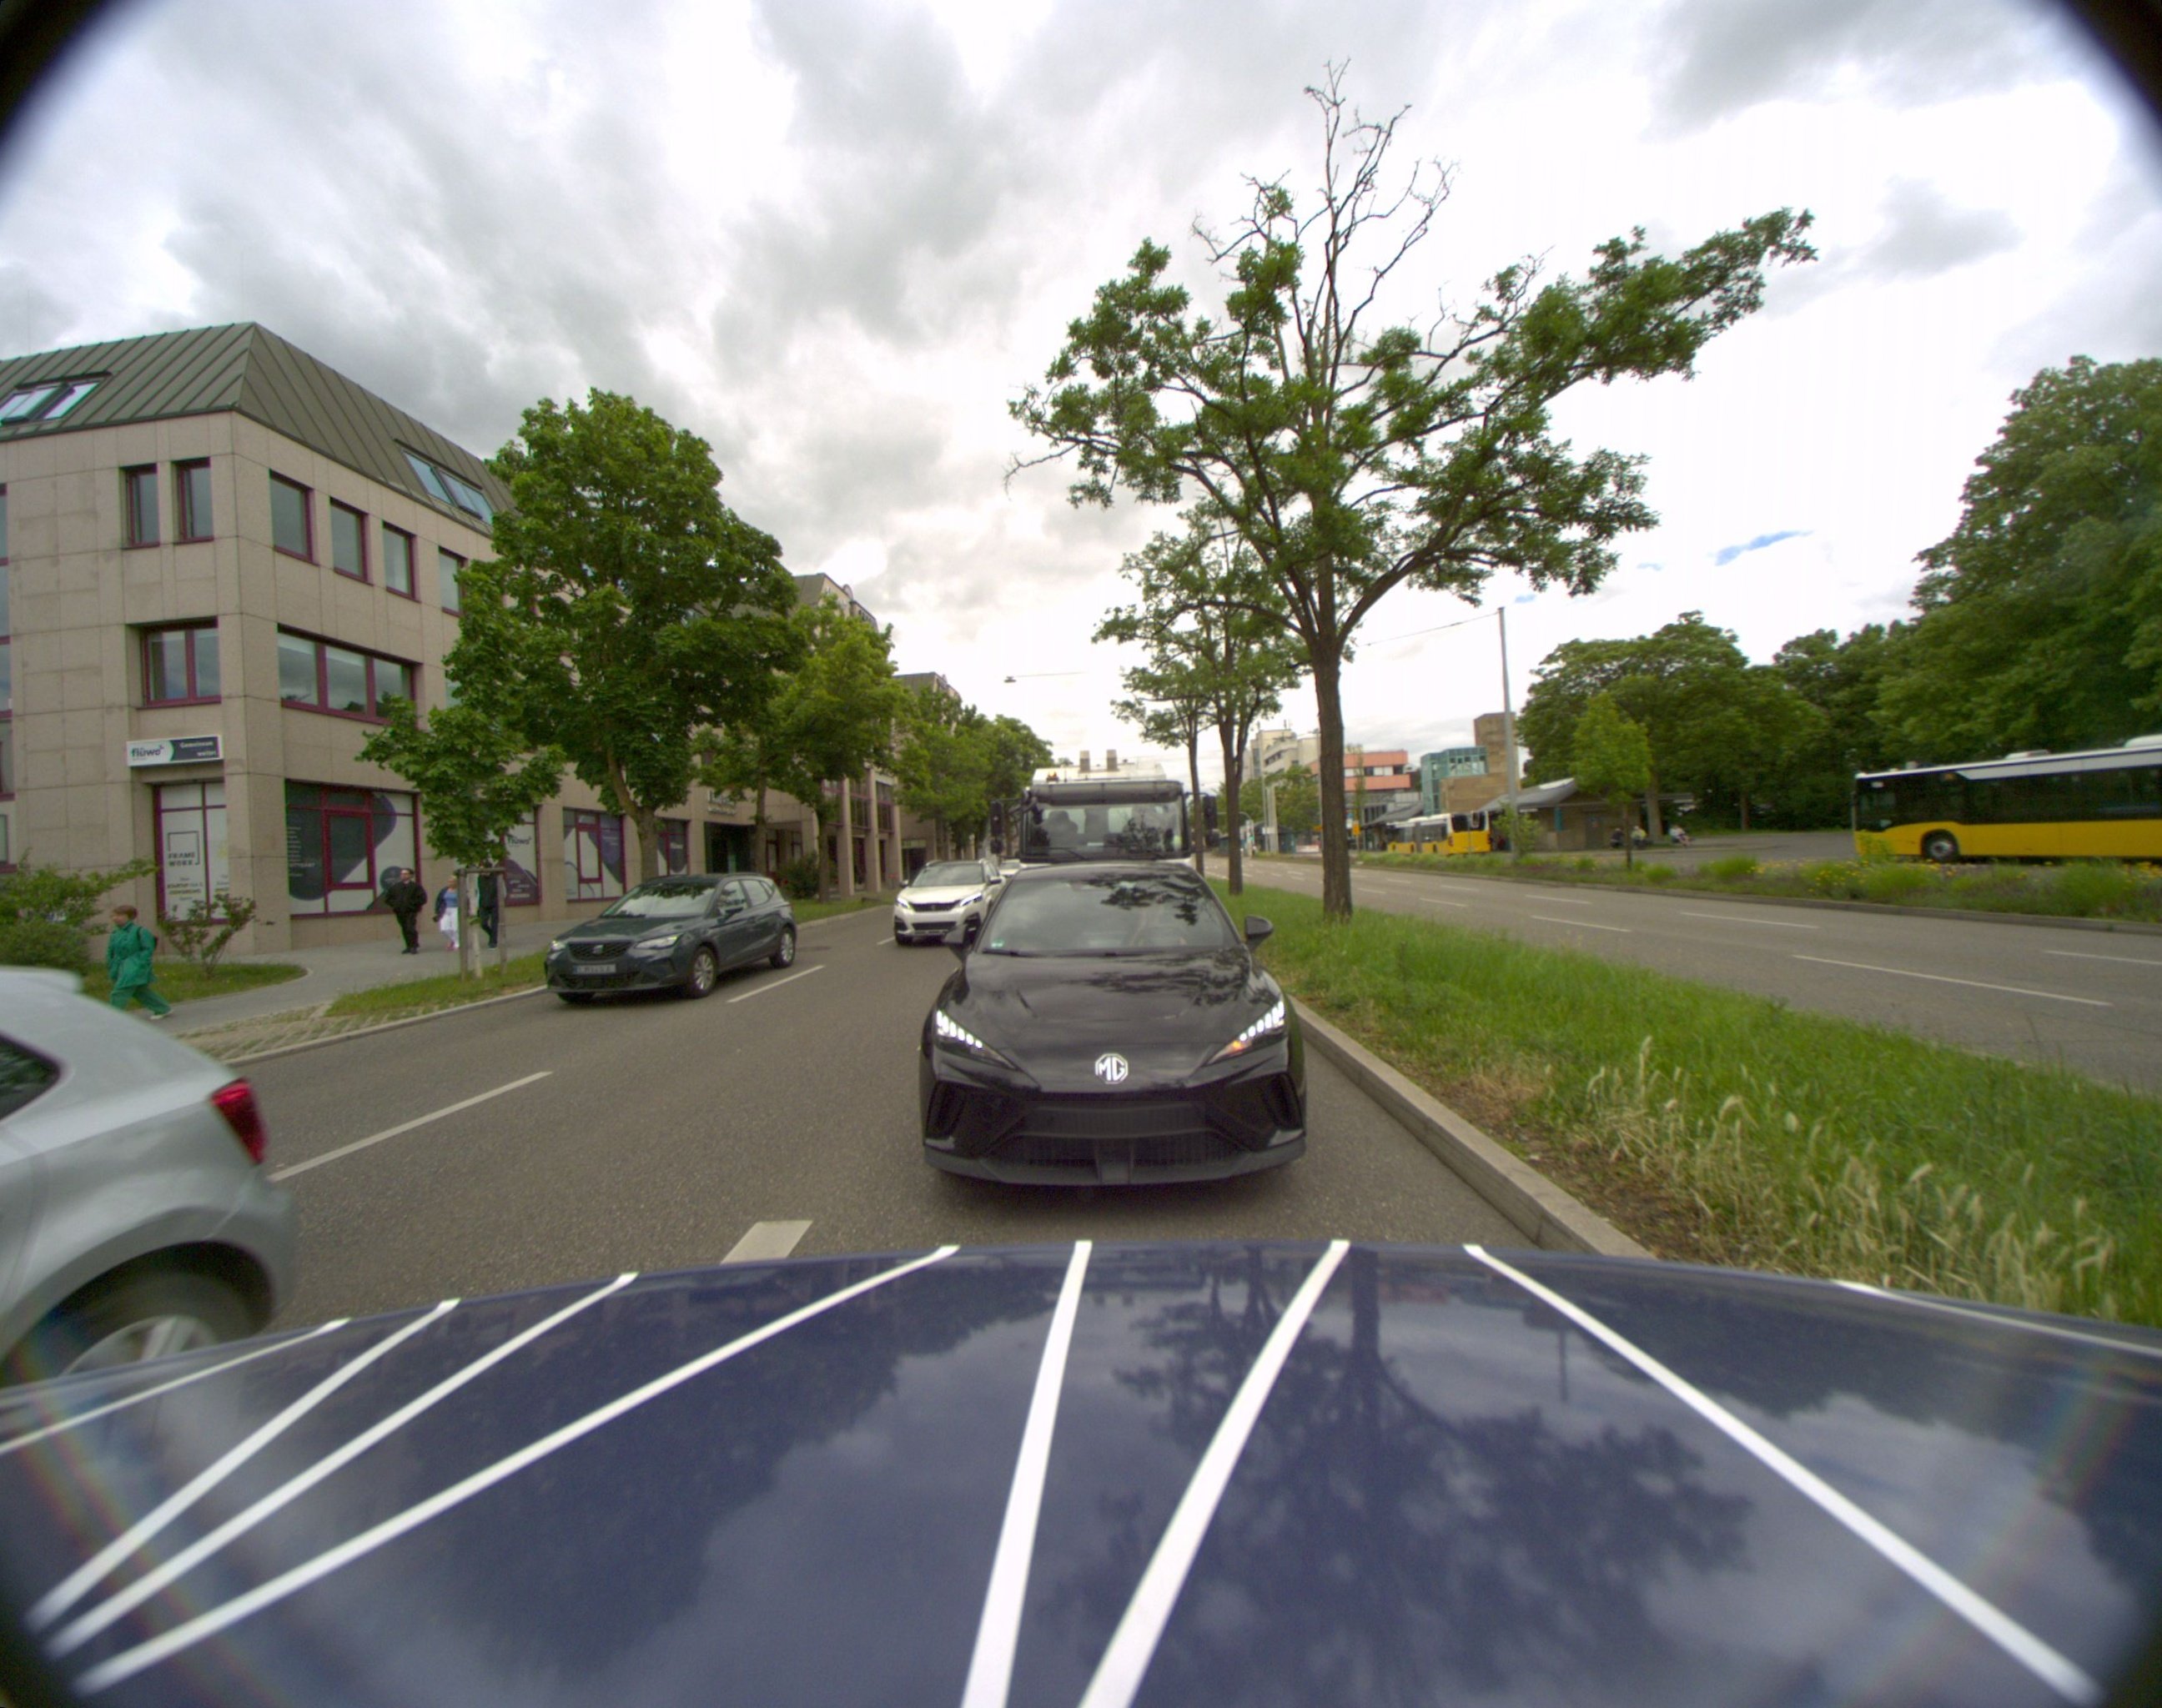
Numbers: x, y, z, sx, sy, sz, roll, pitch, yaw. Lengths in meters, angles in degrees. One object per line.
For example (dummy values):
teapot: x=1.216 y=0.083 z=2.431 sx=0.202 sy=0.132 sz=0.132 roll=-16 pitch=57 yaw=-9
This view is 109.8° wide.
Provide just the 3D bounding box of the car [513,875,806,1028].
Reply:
car: x=-5.473 y=1.161 z=10.554 sx=1.661 sy=1.504 sz=4.000 roll=-2 pitch=1 yaw=2

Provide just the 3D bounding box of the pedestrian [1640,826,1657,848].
pedestrian: x=30.638 y=-0.900 z=41.018 sx=0.598 sy=1.155 sz=0.744 roll=-2 pitch=1 yaw=26

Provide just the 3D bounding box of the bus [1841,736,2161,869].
bus: x=25.922 y=-1.234 z=19.621 sx=2.888 sy=2.985 sz=10.397 roll=-3 pitch=0 yaw=6

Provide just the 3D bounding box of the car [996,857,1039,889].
car: x=-3.335 y=0.977 z=40.631 sx=1.719 sy=1.546 sz=4.090 roll=-2 pitch=0 yaw=3

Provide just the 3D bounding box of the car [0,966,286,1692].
car: x=-3.147 y=1.089 z=0.345 sx=1.609 sy=1.460 sz=3.675 roll=-3 pitch=0 yaw=1

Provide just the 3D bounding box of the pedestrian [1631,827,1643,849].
pedestrian: x=30.205 y=-0.886 z=41.303 sx=0.367 sy=1.160 sz=0.899 roll=-2 pitch=1 yaw=26

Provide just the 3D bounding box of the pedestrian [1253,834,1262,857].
pedestrian: x=21.544 y=-1.022 z=92.727 sx=0.903 sy=2.772 sz=1.148 roll=-2 pitch=1 yaw=13

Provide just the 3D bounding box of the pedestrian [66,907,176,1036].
pedestrian: x=-11.962 y=1.440 z=9.484 sx=0.496 sy=1.510 sz=0.677 roll=0 pitch=1 yaw=1

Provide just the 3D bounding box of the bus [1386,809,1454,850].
bus: x=27.565 y=-1.889 z=62.262 sx=2.887 sy=2.985 sz=9.182 roll=-3 pitch=0 yaw=10

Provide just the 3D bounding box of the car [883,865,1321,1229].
car: x=0.118 y=0.867 z=5.282 sx=1.827 sy=1.430 sz=4.000 roll=-3 pitch=0 yaw=1

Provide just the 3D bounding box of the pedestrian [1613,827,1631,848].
pedestrian: x=30.714 y=-0.927 z=43.178 sx=0.599 sy=1.155 sz=0.743 roll=-2 pitch=1 yaw=16

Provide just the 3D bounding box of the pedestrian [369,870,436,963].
pedestrian: x=-13.694 y=1.234 z=15.347 sx=0.642 sy=1.795 sz=0.677 roll=-3 pitch=1 yaw=1

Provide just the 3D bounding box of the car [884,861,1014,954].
car: x=-2.581 y=0.985 z=15.942 sx=1.859 sy=1.586 sz=4.313 roll=-2 pitch=0 yaw=1

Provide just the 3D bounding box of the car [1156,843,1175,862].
car: x=9.434 y=-0.151 z=84.911 sx=1.726 sy=2.002 sz=4.001 roll=-3 pitch=0 yaw=3

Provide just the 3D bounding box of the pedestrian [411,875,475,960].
pedestrian: x=-12.959 y=1.273 z=15.455 sx=0.642 sy=1.637 sz=0.677 roll=-3 pitch=1 yaw=1

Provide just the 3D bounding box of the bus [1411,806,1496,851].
bus: x=25.980 y=-1.684 z=53.506 sx=2.887 sy=2.793 sz=9.182 roll=-3 pitch=0 yaw=10

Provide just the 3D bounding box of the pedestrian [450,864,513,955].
pedestrian: x=-12.263 y=1.117 z=15.564 sx=0.642 sy=1.795 sz=0.677 roll=-3 pitch=1 yaw=1

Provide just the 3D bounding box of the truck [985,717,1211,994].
truck: x=0.313 y=0.013 z=12.715 sx=2.544 sy=3.187 sz=7.369 roll=-3 pitch=0 yaw=2

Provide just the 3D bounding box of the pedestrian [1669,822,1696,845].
pedestrian: x=31.948 y=-1.078 z=40.362 sx=0.650 sy=1.165 sz=0.925 roll=-2 pitch=1 yaw=1
